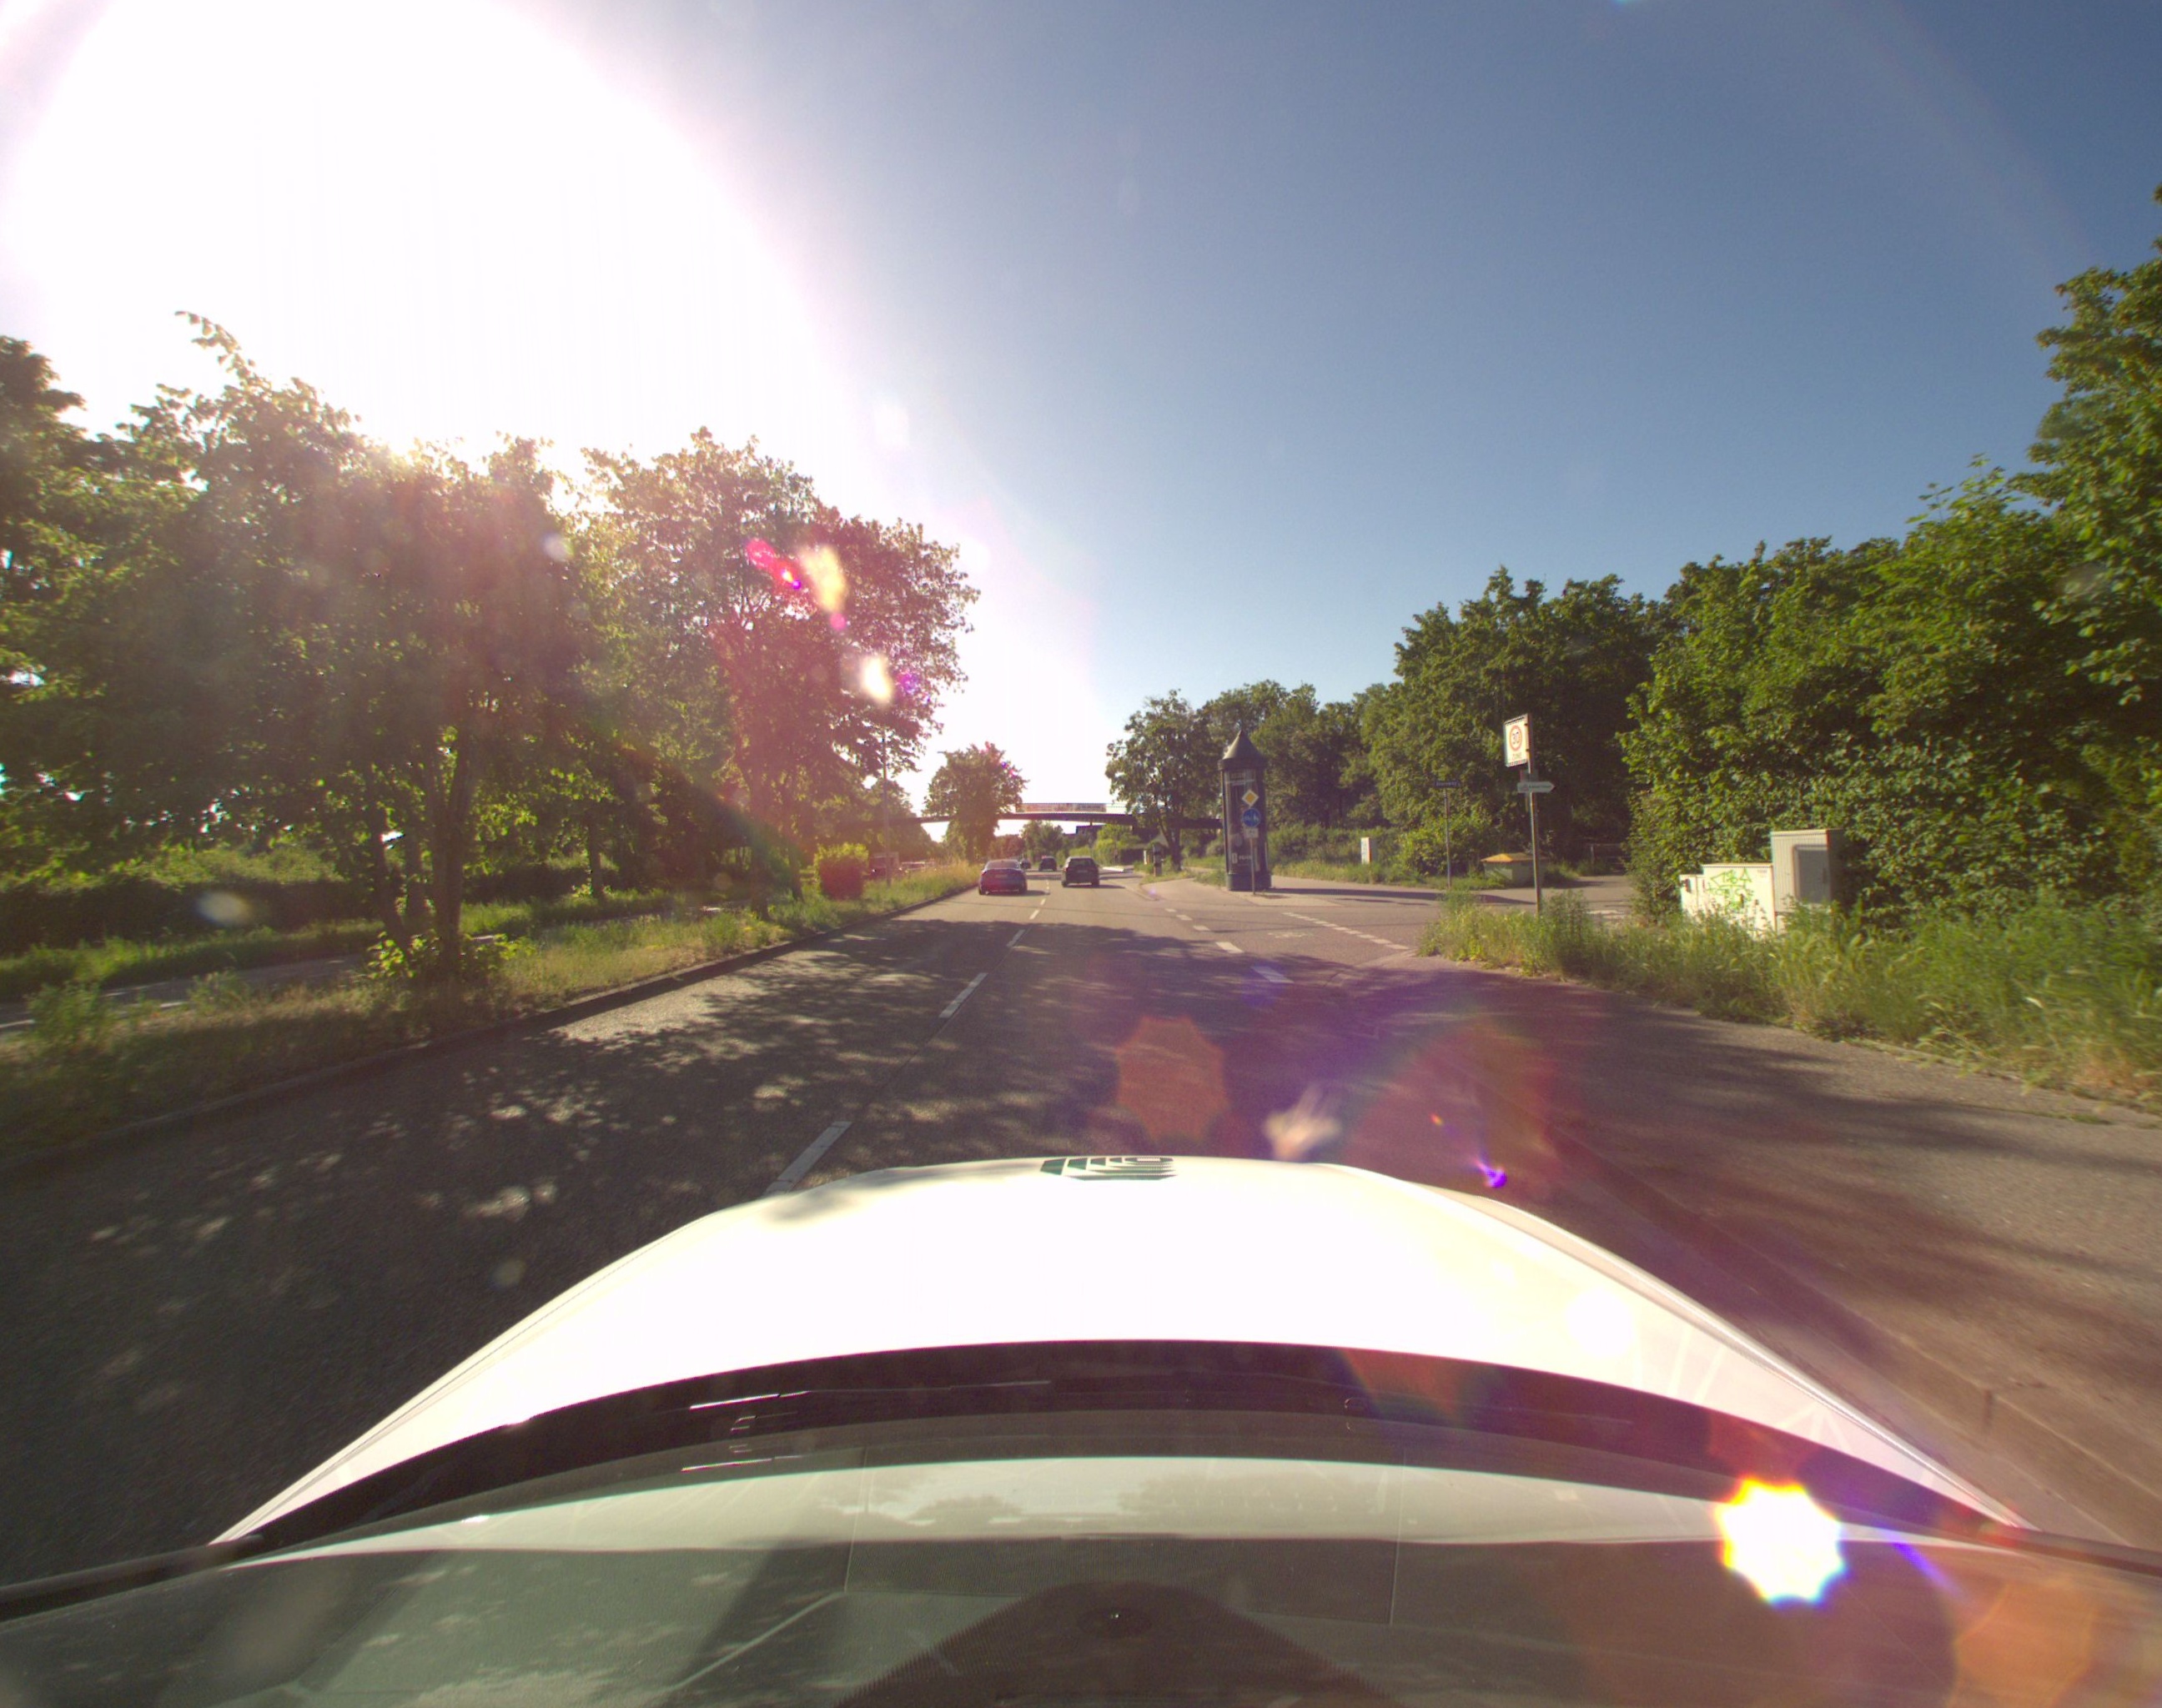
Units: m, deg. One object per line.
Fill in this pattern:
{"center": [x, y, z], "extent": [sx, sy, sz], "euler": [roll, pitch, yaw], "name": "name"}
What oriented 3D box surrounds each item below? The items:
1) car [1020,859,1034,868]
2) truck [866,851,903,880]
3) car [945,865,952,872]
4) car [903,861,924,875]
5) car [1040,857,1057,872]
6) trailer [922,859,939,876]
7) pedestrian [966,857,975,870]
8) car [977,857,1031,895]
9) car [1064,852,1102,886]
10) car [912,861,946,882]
{"center": [-8.412, 1.428, 125.809], "extent": [1.897, 1.356, 3.989], "euler": [-2, 0, -8], "name": "car"}
{"center": [-18.426, 1.031, 76.536], "extent": [2.168, 2.512, 5.735], "euler": [-4, 0, -3], "name": "truck"}
{"center": [-34.020, 3.699, 208.794], "extent": [1.730, 1.632, 4.184], "euler": [-3, 0, -9], "name": "car"}
{"center": [-20.397, 1.700, 99.394], "extent": [1.852, 1.606, 4.362], "euler": [-4, 0, -3], "name": "car"}
{"center": [-3.528, 1.110, 88.802], "extent": [1.740, 1.597, 4.169], "euler": [-2, 0, -4], "name": "car"}
{"center": [-18.038, 1.601, 97.889], "extent": [1.560, 1.910, 4.273], "euler": [-2, 0, -6], "name": "trailer"}
{"center": [-13.873, 1.182, 102.074], "extent": [0.625, 1.696, 0.948], "euler": [-2, -1, 21], "name": "pedestrian"}
{"center": [-3.136, 0.855, 34.020], "extent": [1.990, 1.405, 3.996], "euler": [-2, 0, -2], "name": "car"}
{"center": [0.136, 0.736, 39.998], "extent": [1.754, 1.559, 4.000], "euler": [0, -1, 1], "name": "car"}
{"center": [-12.884, 1.438, 69.489], "extent": [1.851, 1.606, 5.571], "euler": [-4, 0, -1], "name": "car"}
